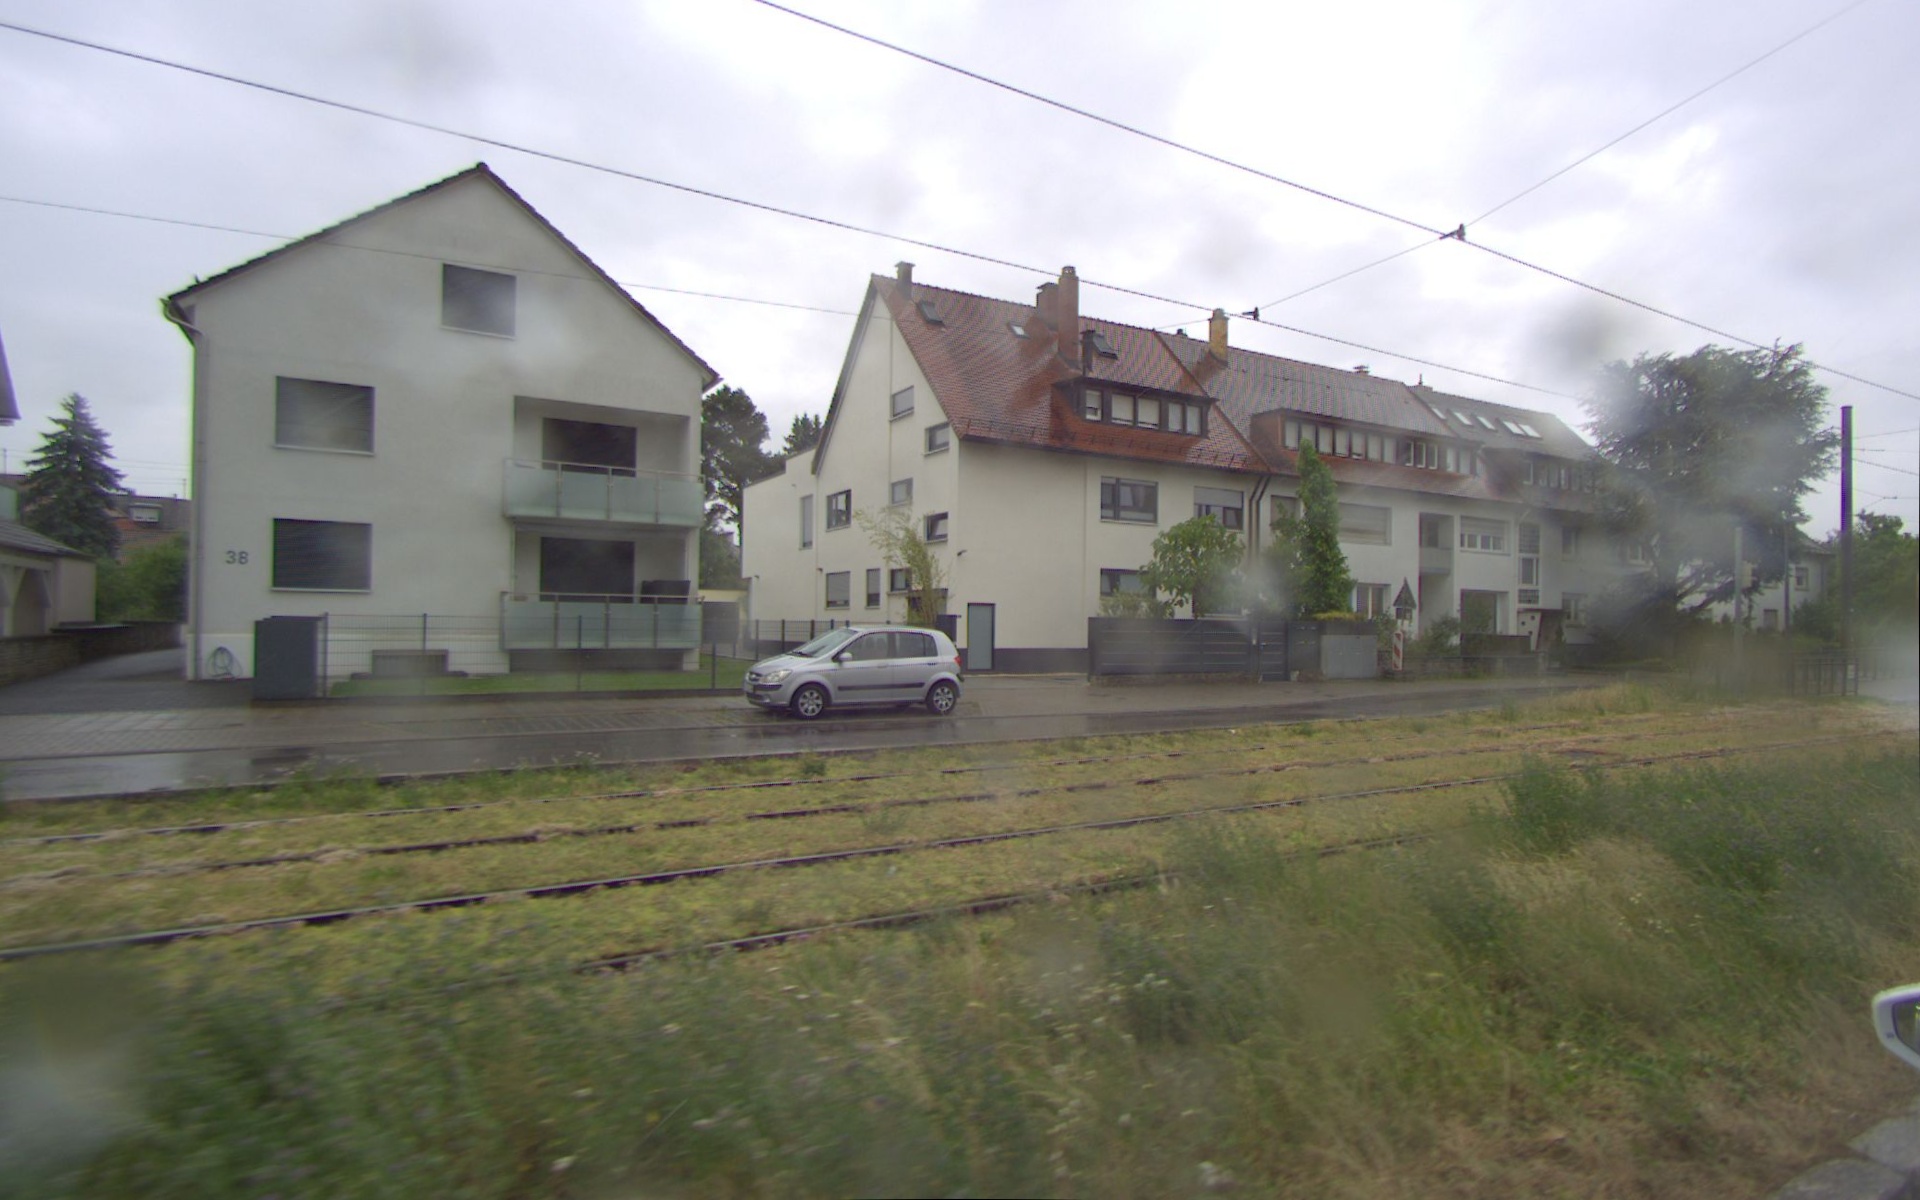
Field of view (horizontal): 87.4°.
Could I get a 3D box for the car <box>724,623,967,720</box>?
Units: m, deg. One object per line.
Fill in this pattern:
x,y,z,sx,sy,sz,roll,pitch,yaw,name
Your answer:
-1.943,1.180,17.192,3.618,1.432,1.983,2,-1,-32,car

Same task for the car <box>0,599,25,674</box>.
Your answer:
-20.020,0.717,19.514,1.820,1.521,3.968,2,-1,-30,car
